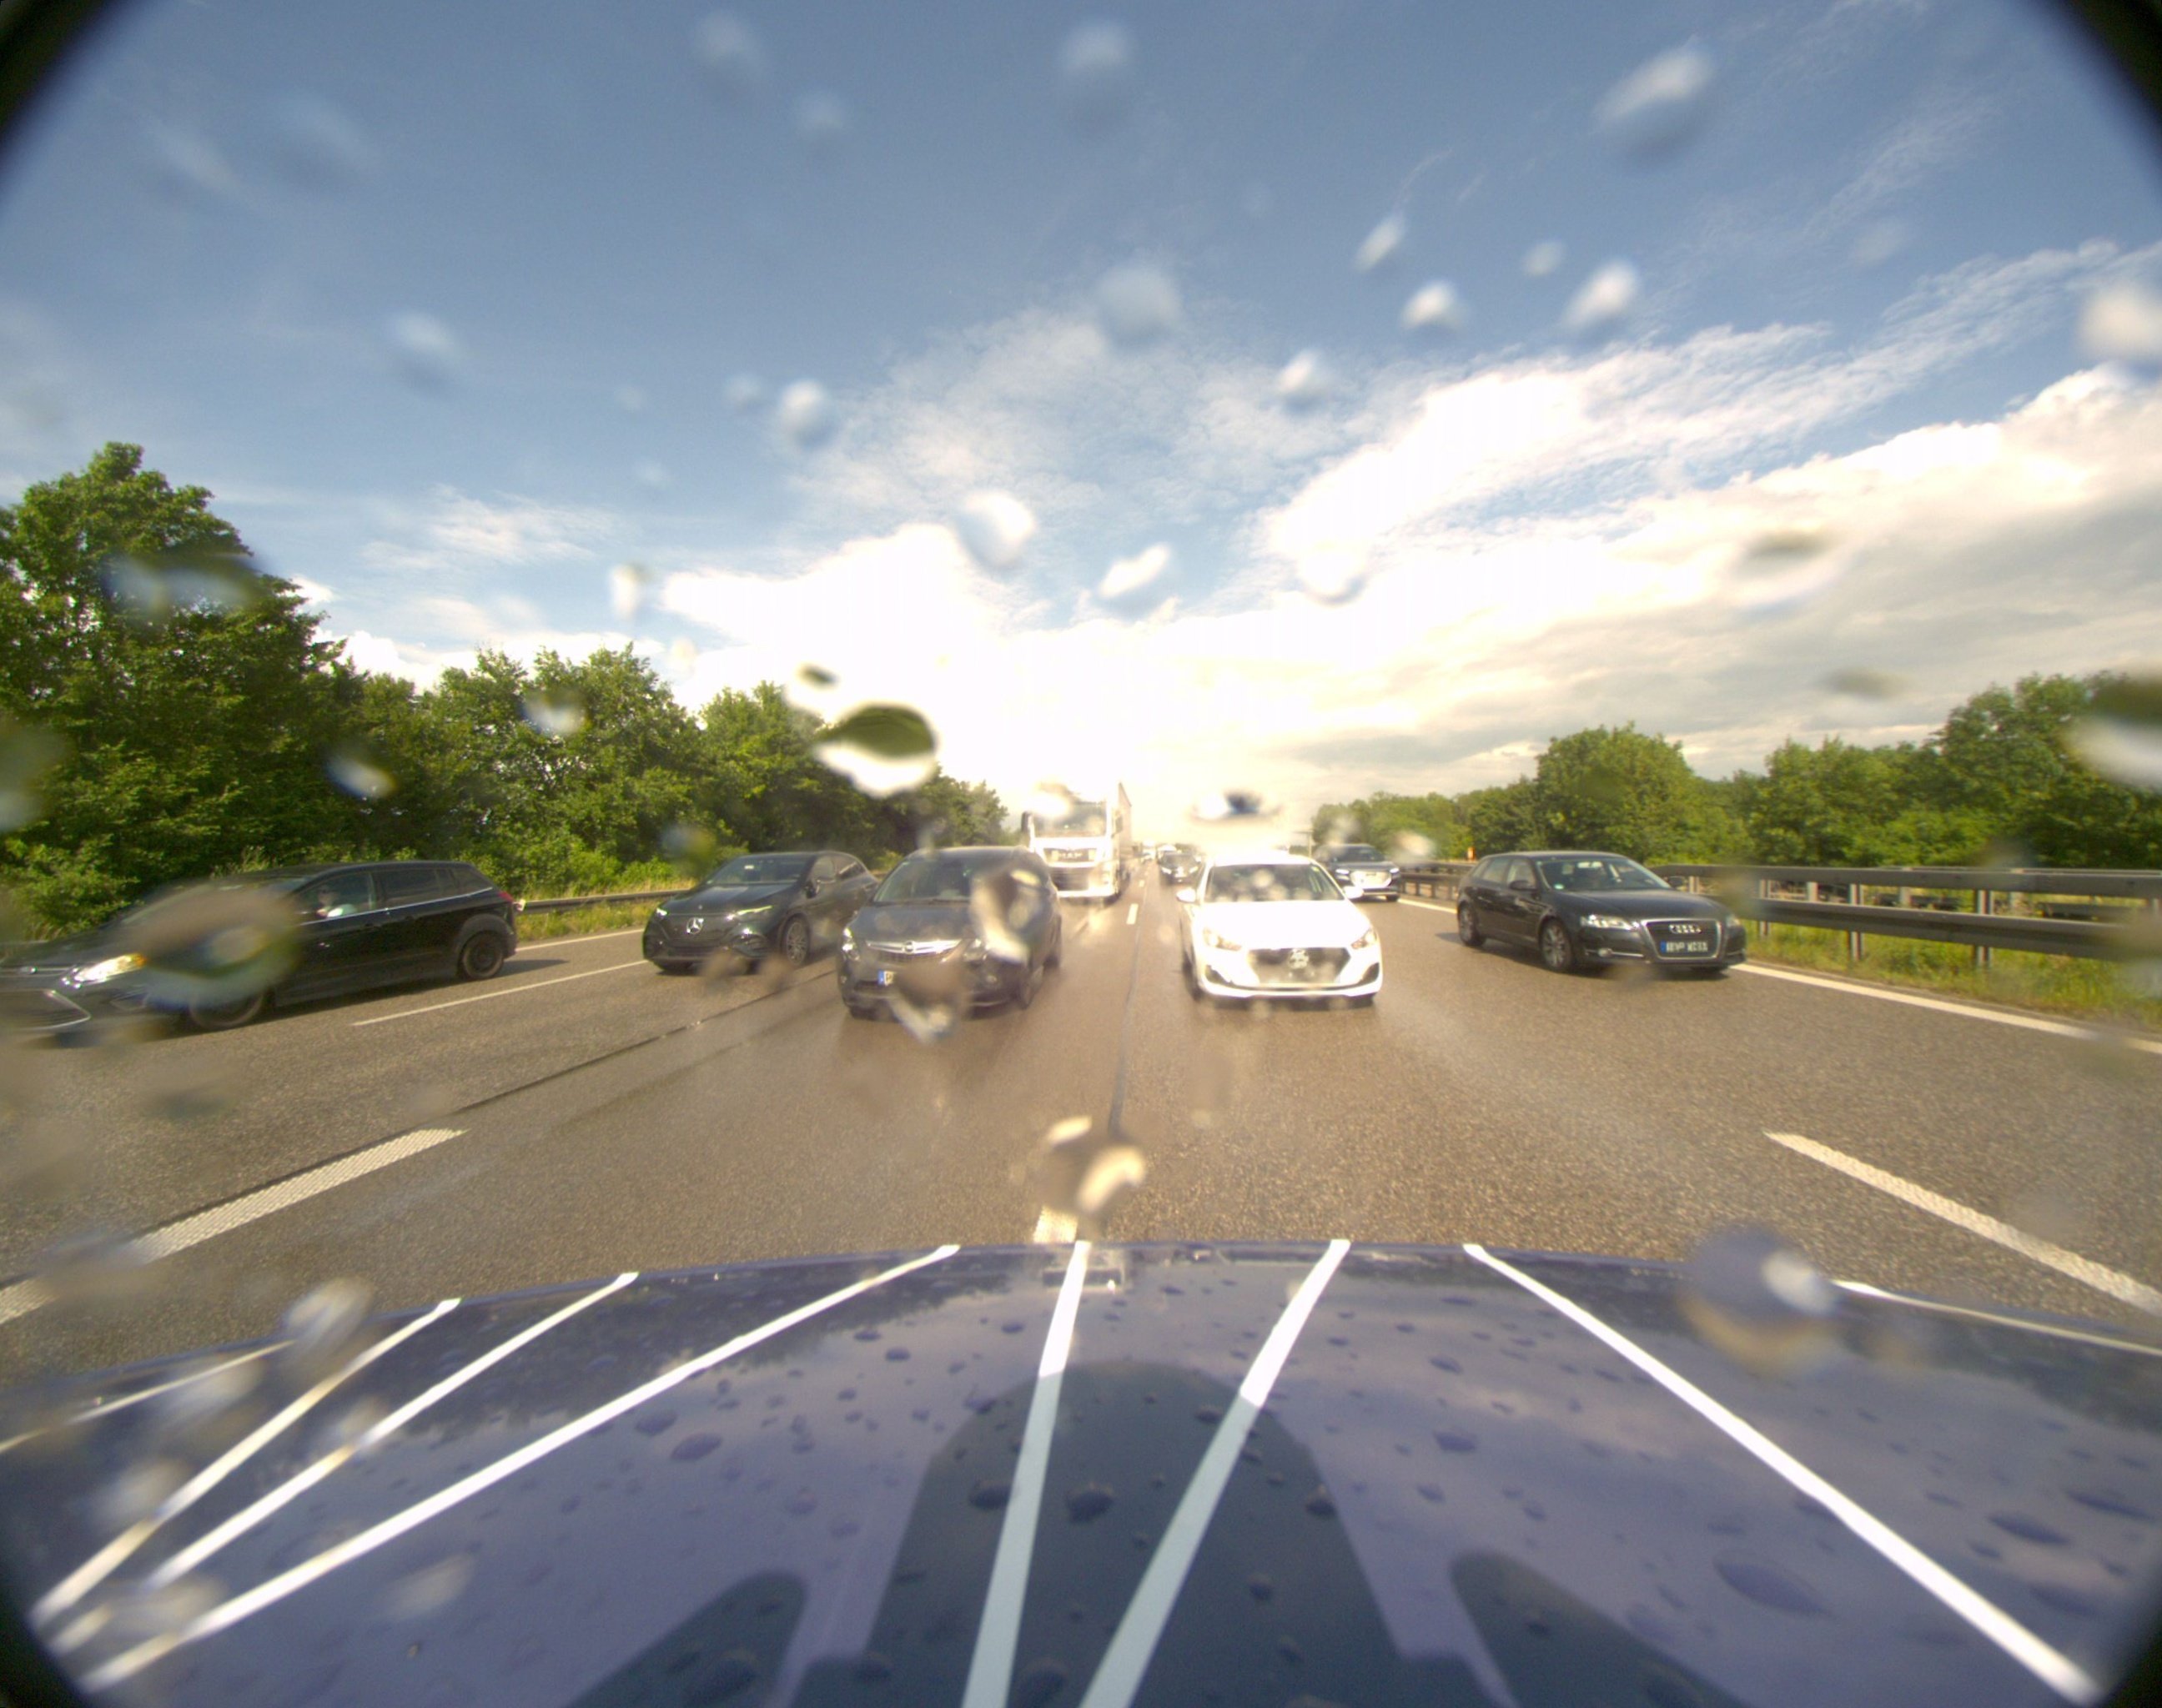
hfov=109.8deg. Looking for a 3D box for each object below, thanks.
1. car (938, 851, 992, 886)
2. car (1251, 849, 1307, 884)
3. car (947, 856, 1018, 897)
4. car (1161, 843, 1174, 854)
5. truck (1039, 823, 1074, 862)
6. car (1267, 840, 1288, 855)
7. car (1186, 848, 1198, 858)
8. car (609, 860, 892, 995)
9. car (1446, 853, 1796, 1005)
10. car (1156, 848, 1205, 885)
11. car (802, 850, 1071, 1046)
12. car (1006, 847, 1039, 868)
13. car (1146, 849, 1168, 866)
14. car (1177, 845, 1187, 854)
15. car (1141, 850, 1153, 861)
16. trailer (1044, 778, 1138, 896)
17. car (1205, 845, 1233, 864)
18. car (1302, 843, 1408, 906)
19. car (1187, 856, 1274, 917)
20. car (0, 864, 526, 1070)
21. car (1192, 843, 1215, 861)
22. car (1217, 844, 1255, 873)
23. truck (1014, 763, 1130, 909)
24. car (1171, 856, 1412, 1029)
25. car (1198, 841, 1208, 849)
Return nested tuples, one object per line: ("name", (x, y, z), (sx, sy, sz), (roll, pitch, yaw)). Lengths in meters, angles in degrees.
("car", (-5.870, 0.702, 38.970), (1.752, 1.577, 4.287), (-2, 1, 4))
("car", (8.836, 0.509, 34.232), (1.771, 1.371, 4.000), (-1, 2, 4))
("car", (-3.814, 0.843, 30.176), (1.755, 1.402, 4.512), (-2, 0, 6))
("car", (14.700, -0.878, 129.341), (1.998, 1.687, 4.000), (-2, 1, 4))
("truck", (-2.555, -1.250, 81.135), (3.111, 3.932, 5.867), (-1, 1, 4))
("car", (27.518, -0.885, 106.724), (1.998, 2.002, 4.654), (-1, 1, 4))
("car", (21.088, -0.218, 144.647), (1.998, 1.687, 4.000), (-2, 1, 4))
("car", (-4.669, 0.933, 11.705), (1.998, 1.572, 4.654), (-1, 1, 5))
("car", (6.325, 0.748, 9.586), (1.770, 1.417, 4.140), (-2, 1, 6))
("car", (4.514, 0.517, 35.051), (1.998, 1.478, 4.000), (-1, 2, 4))
("car", (-1.280, 0.807, 8.702), (1.883, 1.638, 4.397), (-1, 1, 5))
("car", (-4.353, 0.242, 57.192), (1.791, 1.454, 4.507), (-2, 1, 4))
("car", (7.387, 0.316, 74.173), (1.998, 1.471, 4.000), (-2, 1, 4))
("car", (21.783, -1.026, 163.887), (1.998, 1.687, 4.000), (-2, 1, 4))
("car", (11.424, 0.231, 131.331), (1.998, 1.687, 4.000), (-2, 1, 4))
("trailer", (0.793, -0.665, 32.688), (2.789, 4.083, 11.542), (-2, 1, 6))
("car", (12.162, 0.029, 67.167), (1.998, 1.471, 4.000), (-2, 1, 4))
("car", (7.758, 0.519, 21.922), (1.874, 1.597, 4.230), (-1, 1, 6))
("car", (3.778, 0.769, 19.833), (1.728, 1.330, 4.288), (-1, 0, 5))
("car", (-8.910, 0.997, 8.556), (1.824, 1.611, 4.365), (-2, 0, 5))
("car", (12.848, -0.236, 80.035), (1.998, 1.687, 4.000), (-2, 1, 4))
("car", (10.445, 0.273, 51.586), (1.998, 1.739, 4.000), (-2, 1, 4))
("truck", (-0.026, -0.551, 25.401), (2.816, 4.083, 7.448), (-2, 1, 6))
("car", (2.104, 0.786, 8.921), (1.885, 1.446, 4.549), (-1, 0, 5))
("car", (29.106, -2.166, 181.125), (1.998, 1.768, 4.462), (-1, 0, 5))
